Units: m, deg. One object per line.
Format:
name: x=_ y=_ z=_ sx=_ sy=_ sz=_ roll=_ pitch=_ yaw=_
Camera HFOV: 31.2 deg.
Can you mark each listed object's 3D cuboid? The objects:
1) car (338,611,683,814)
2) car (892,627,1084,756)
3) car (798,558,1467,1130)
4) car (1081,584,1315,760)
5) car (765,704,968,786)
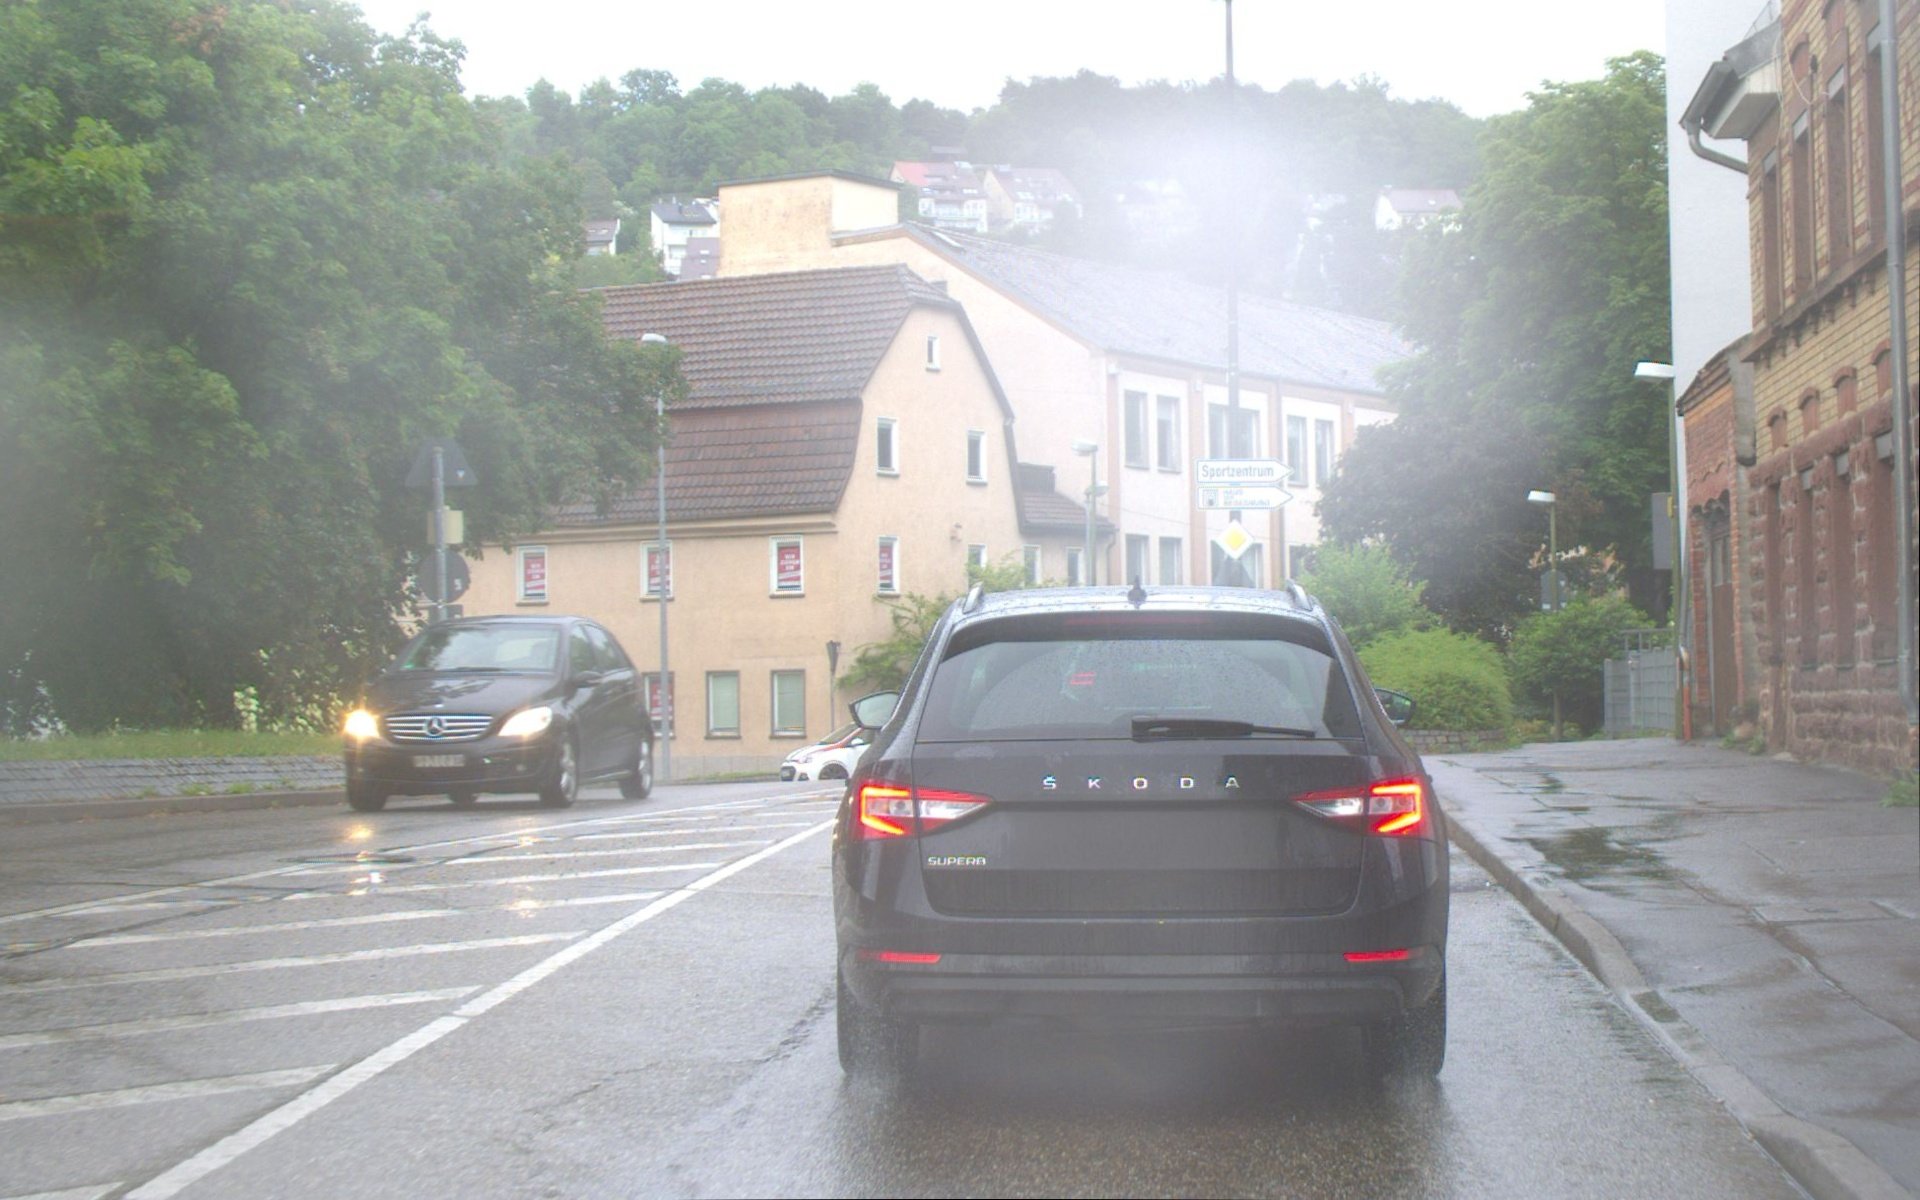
car: x=-3.597 y=0.867 z=28.218 sx=1.641 sy=1.516 sz=4.069 roll=-1 pitch=0 yaw=10
car: x=0.325 y=1.264 z=46.019 sx=1.727 sy=1.585 sz=4.184 roll=1 pitch=-3 yaw=-11
car: x=0.533 y=0.632 z=11.400 sx=1.782 sy=1.478 sz=4.246 roll=1 pitch=1 yaw=2
car: x=2.004 y=0.631 z=29.278 sx=1.818 sy=1.355 sz=3.989 roll=-1 pitch=-2 yaw=3
car: x=-1.942 y=3.003 z=71.102 sx=3.750 sy=1.448 sz=1.712 roll=-3 pitch=-2 yaw=-22
